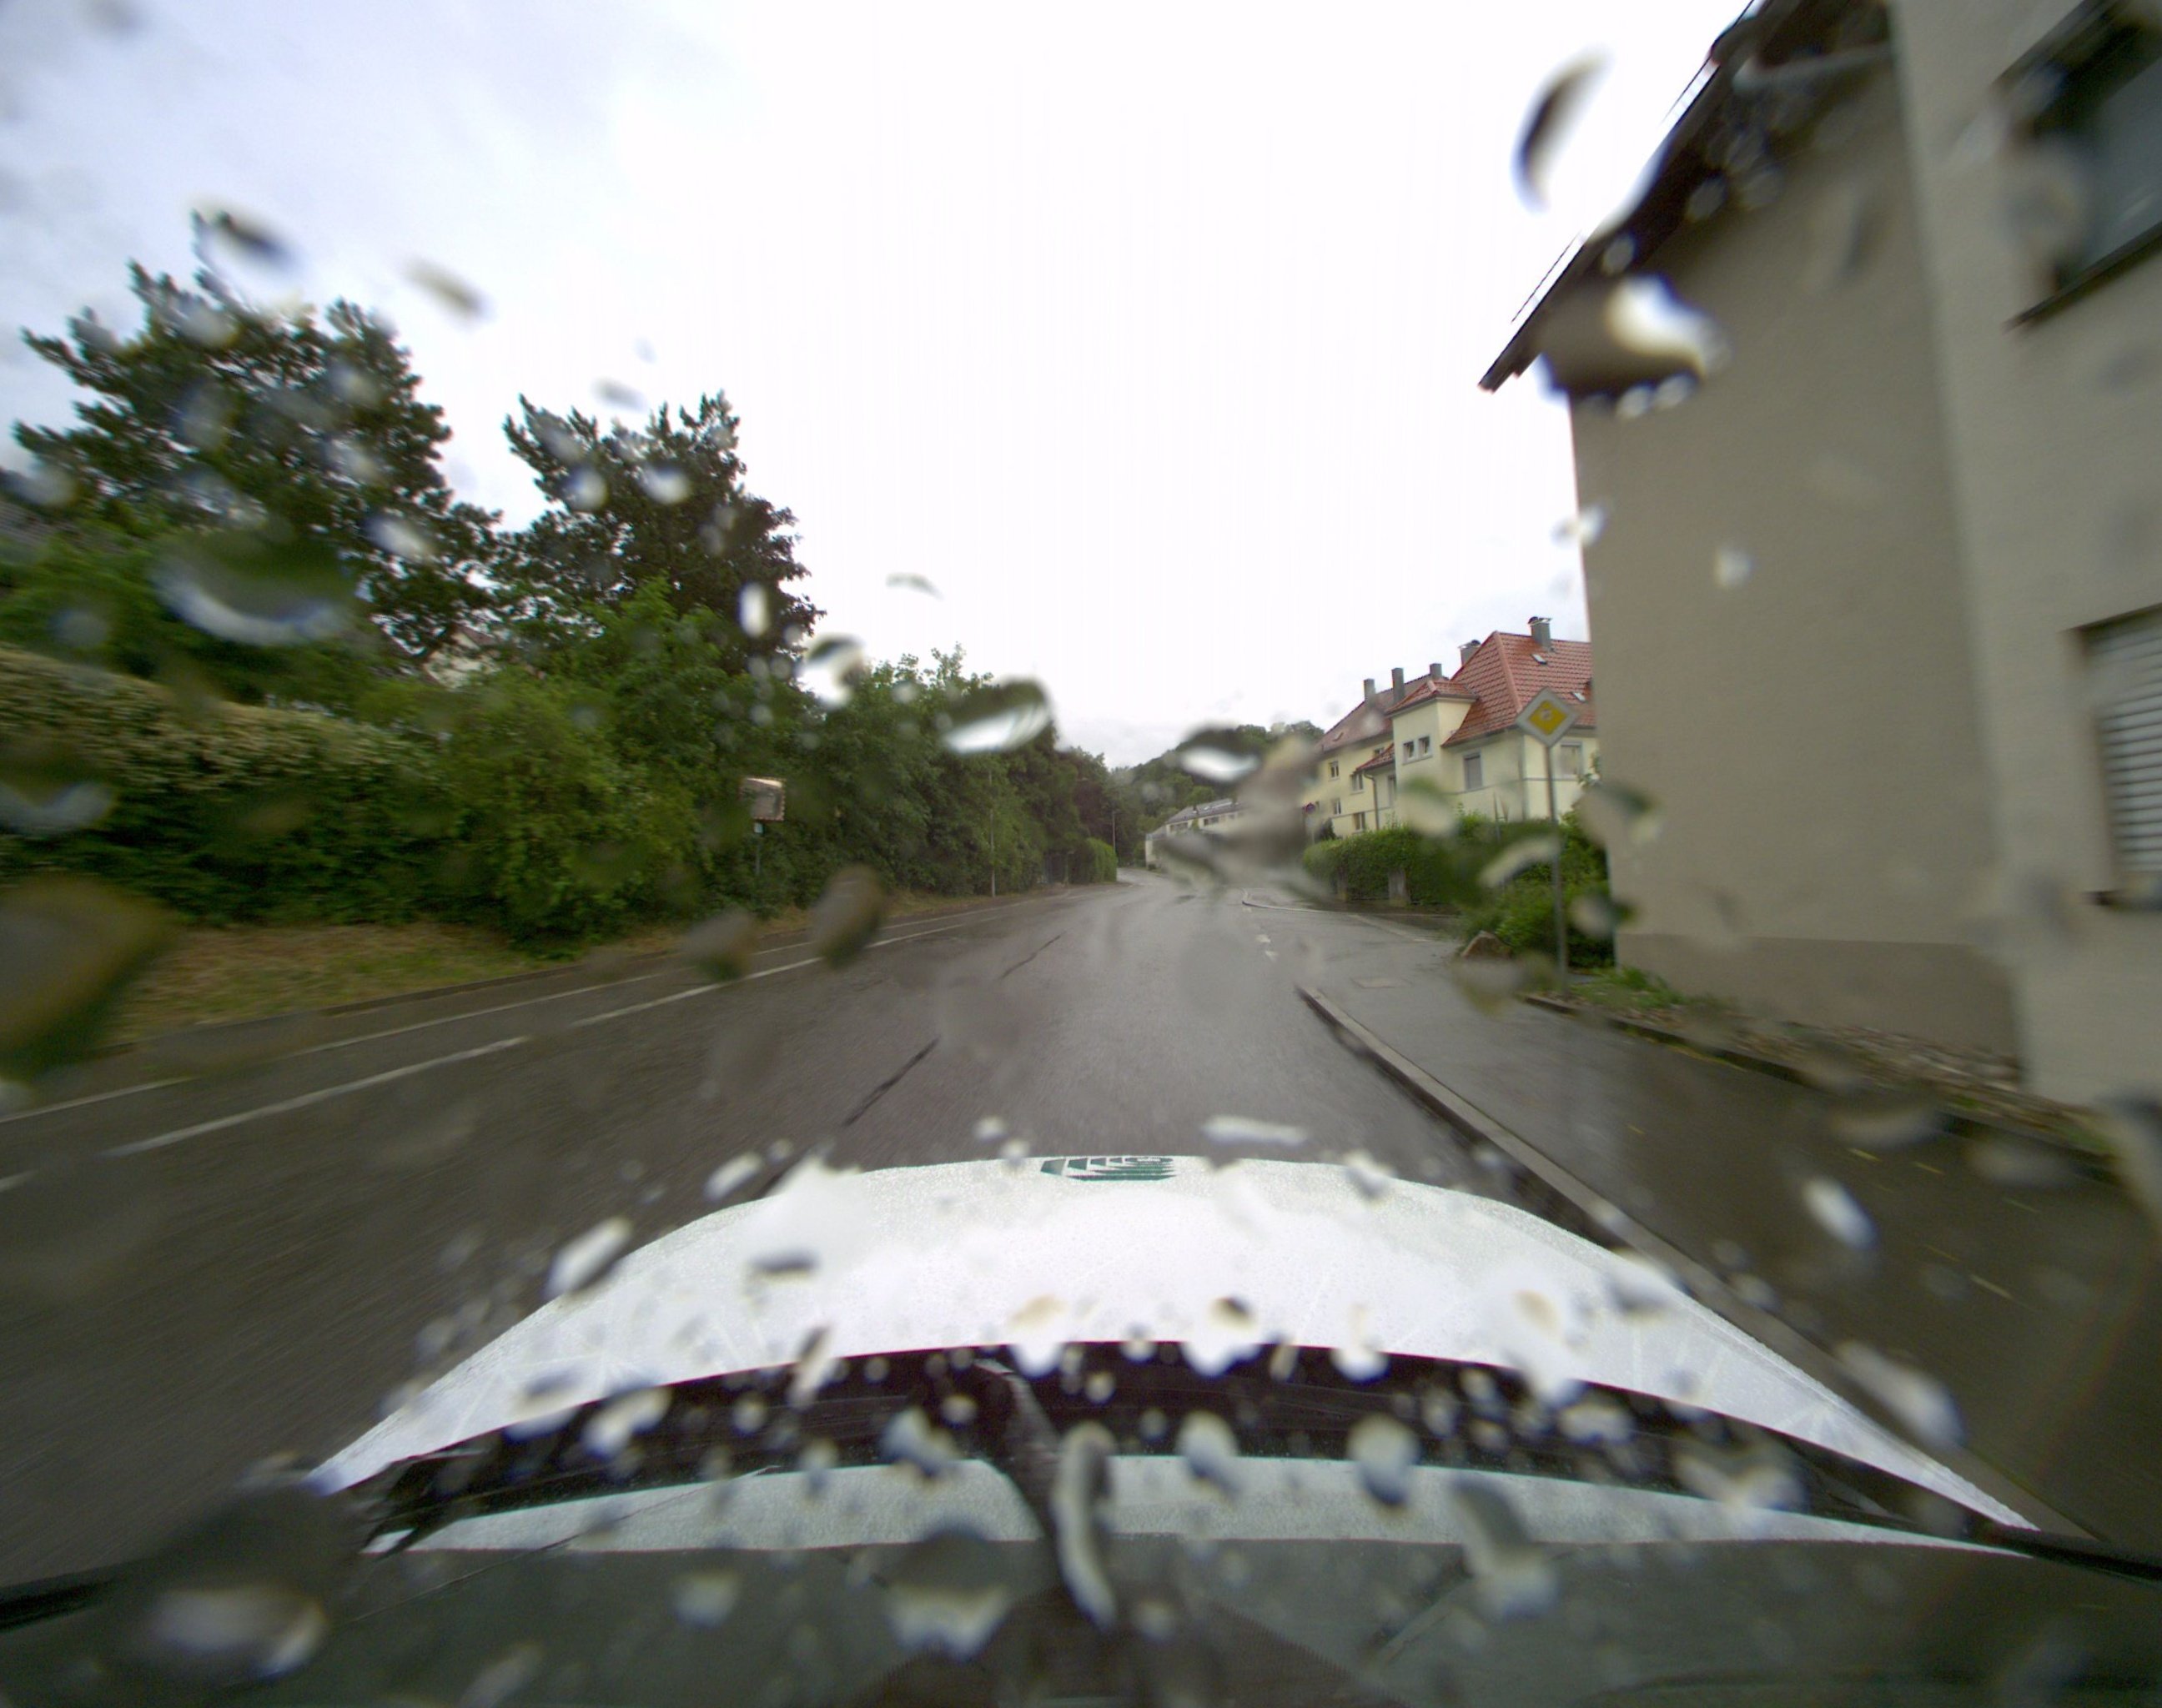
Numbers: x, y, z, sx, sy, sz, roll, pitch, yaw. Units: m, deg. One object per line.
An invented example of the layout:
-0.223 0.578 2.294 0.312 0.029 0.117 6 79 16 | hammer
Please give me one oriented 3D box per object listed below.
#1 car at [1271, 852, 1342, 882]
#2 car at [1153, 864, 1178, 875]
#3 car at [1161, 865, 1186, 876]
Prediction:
14.611 0.868 52.813 3.988 1.772 1.992 1 -3 -11 | car
14.609 2.636 141.107 3.976 1.772 1.998 1 -3 -2 | car
15.421 2.721 135.657 3.976 1.772 1.998 1 -3 -2 | car
